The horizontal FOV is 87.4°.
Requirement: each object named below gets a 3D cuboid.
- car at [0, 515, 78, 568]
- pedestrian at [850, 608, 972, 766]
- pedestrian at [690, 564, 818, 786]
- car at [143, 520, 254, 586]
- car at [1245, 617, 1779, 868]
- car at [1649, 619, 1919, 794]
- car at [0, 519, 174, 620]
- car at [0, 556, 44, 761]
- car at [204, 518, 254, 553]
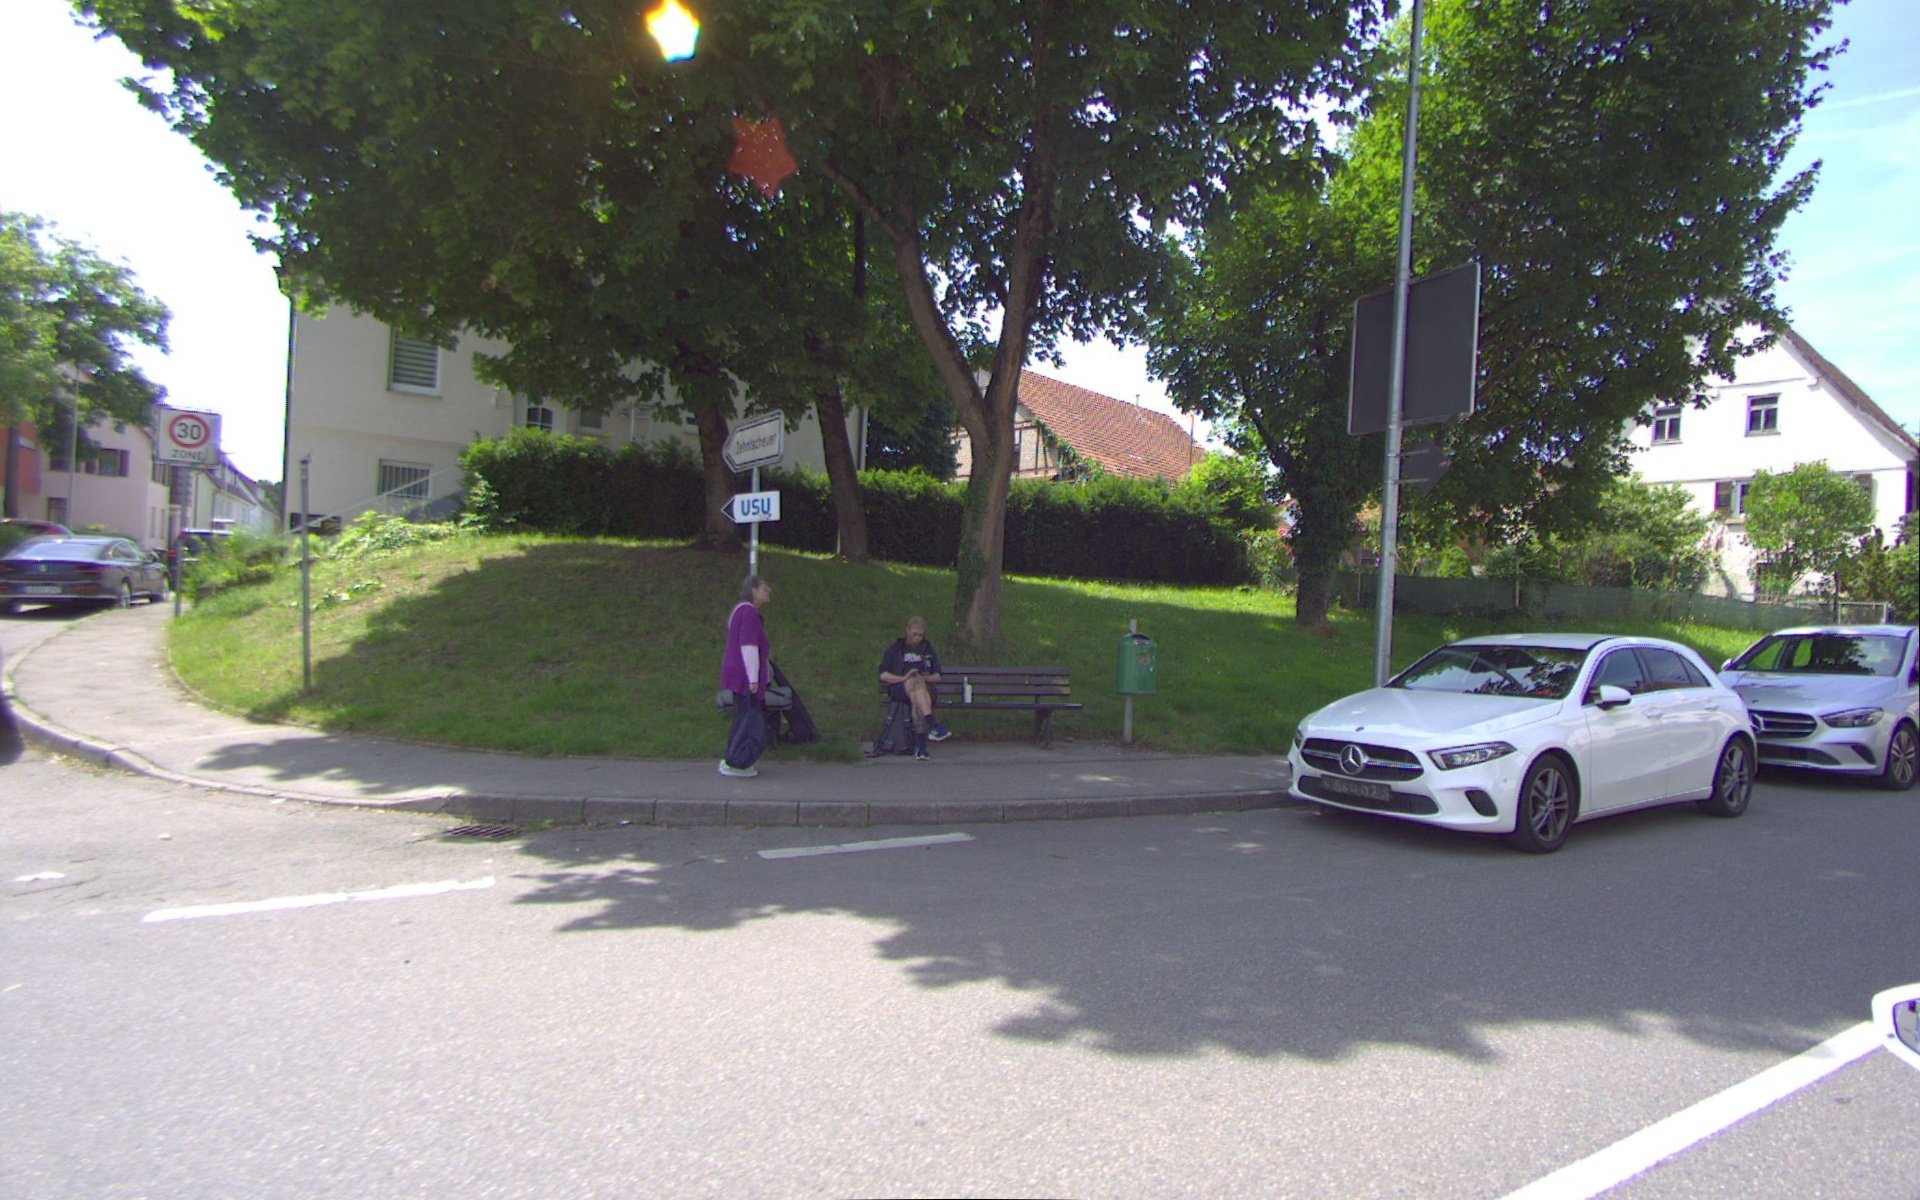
[{"bbox_3d":[-34.397,-2.075,35.923,3.899,1.844,1.824,-1,2,-30],"label":"car"},{"bbox_3d":[-0.470,0.749,9.166,0.638,1.286,1.232,2,1,-26],"label":"pedestrian"},{"bbox_3d":[-1.629,0.559,7.946,0.721,1.638,0.626,3,1,40],"label":"pedestrian"},{"bbox_3d":[-21.165,-1.347,28.068,1.751,1.669,3.972,1,3,-27],"label":"car"},{"bbox_3d":[4.403,0.908,7.840,4.313,1.486,1.746,1,-2,-31],"label":"car"},{"bbox_3d":[9.432,1.005,10.746,4.171,1.547,1.764,1,-2,-30],"label":"car"},{"bbox_3d":[-16.687,-0.668,19.091,1.884,1.707,3.972,-1,5,-26],"label":"car"},{"bbox_3d":[-9.979,0.354,9.117,4.721,1.499,1.990,6,3,42],"label":"car"},{"bbox_3d":[-45.299,-3.954,62.319,1.977,1.972,4.323,3,1,-30],"label":"car"}]
